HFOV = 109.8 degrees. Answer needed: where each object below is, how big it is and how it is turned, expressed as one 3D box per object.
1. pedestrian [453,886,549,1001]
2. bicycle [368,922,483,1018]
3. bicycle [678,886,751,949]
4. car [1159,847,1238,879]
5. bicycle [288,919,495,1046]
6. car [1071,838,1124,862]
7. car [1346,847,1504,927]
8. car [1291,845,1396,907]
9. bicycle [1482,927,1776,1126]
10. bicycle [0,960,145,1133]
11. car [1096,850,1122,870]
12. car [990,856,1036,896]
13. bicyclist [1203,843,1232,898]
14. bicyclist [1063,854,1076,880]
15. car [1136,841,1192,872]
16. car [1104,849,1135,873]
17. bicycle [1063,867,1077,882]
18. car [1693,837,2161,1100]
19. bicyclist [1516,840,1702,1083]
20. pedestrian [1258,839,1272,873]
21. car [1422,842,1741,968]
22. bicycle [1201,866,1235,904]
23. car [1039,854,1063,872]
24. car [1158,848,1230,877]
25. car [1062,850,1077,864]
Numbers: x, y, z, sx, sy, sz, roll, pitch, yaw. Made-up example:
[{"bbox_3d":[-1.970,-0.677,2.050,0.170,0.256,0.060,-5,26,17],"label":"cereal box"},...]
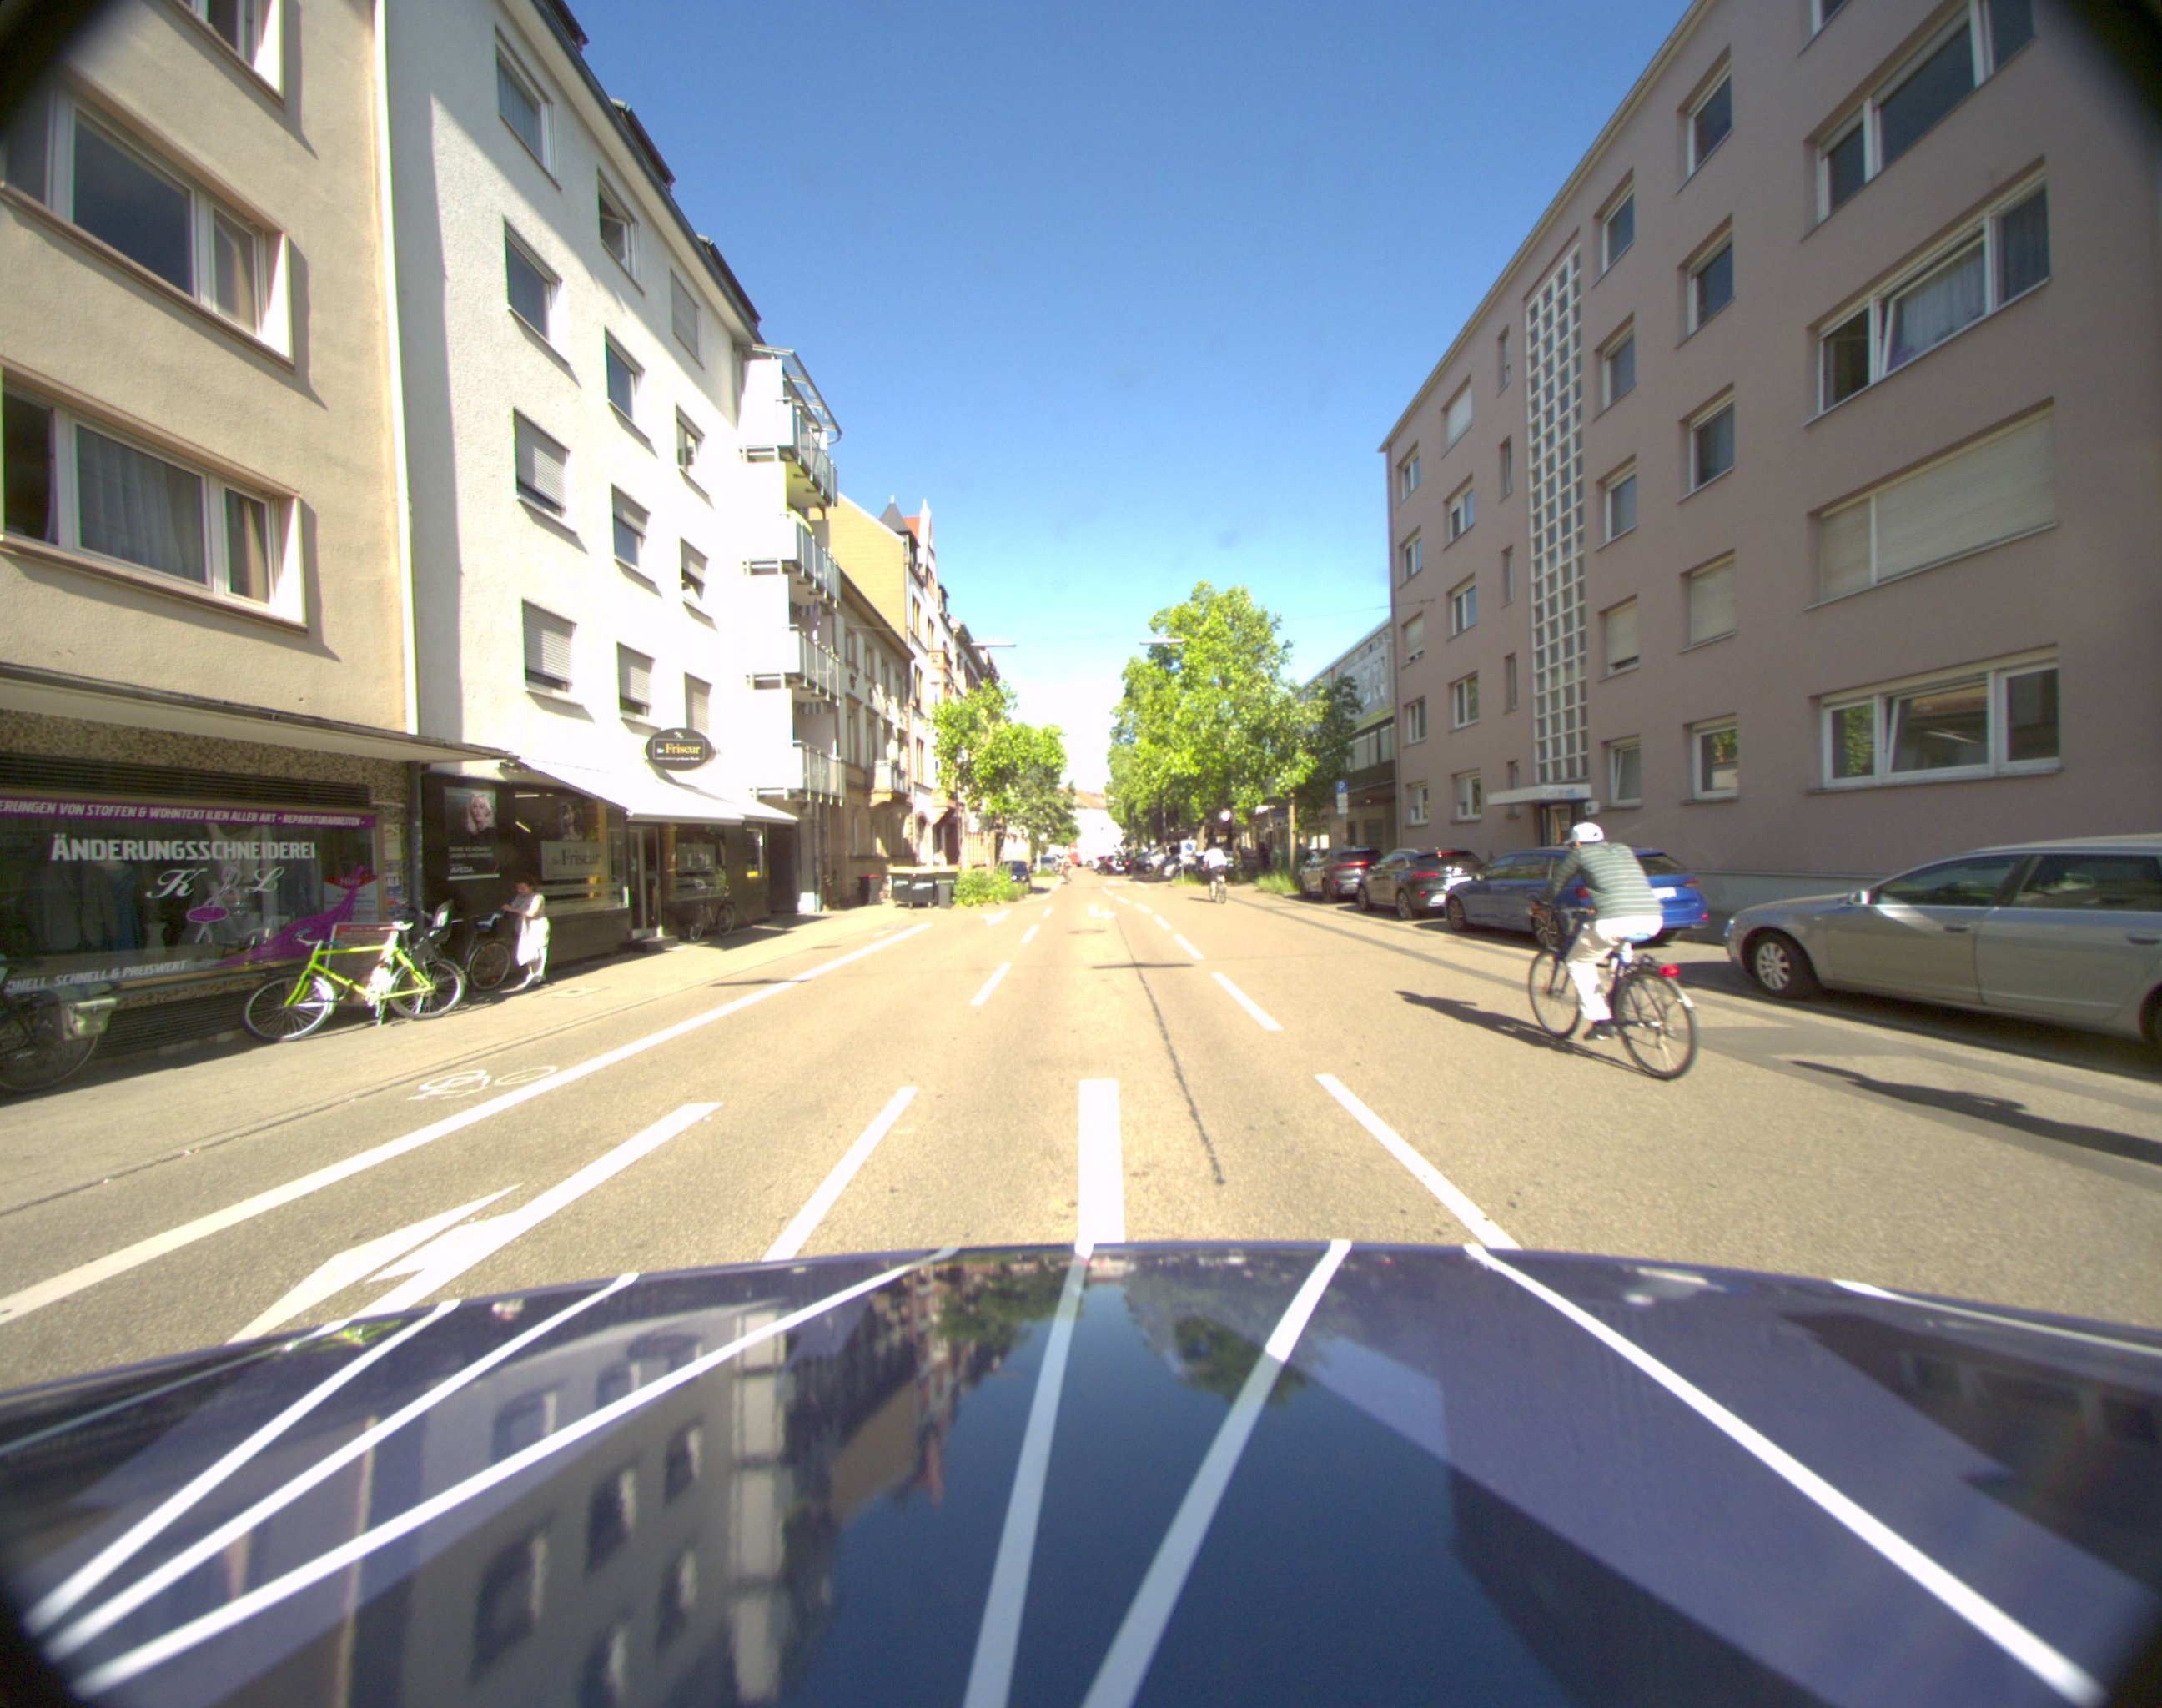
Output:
[{"bbox_3d":[-7.572,1.146,9.952,0.776,1.434,0.625,0,1,-4],"label":"pedestrian"},{"bbox_3d":[-8.004,1.389,9.328,0.376,0.977,1.175,-2,0,-2],"label":"bicycle"},{"bbox_3d":[-7.513,1.273,15.653,0.598,1.137,1.774,1,1,1],"label":"bicycle"},{"bbox_3d":[6.270,0.484,40.942,3.996,1.543,1.913,-2,1,3],"label":"car"},{"bbox_3d":[-7.301,1.322,8.154,1.497,1.100,0.722,-2,1,-31],"label":"bicycle"},{"bbox_3d":[1.783,-0.413,80.971,5.571,2.379,1.973,-2,1,-36],"label":"car"},{"bbox_3d":[7.552,0.641,17.147,1.727,1.459,4.158,-4,0,2],"label":"car"},{"bbox_3d":[7.633,0.578,22.543,1.727,1.567,4.158,-4,0,2],"label":"car"},{"bbox_3d":[3.653,1.086,5.324,0.681,0.946,1.933,0,0,1],"label":"bicycle"},{"bbox_3d":[-7.682,1.384,5.118,0.407,1.078,1.801,1,1,6],"label":"bicycle"},{"bbox_3d":[2.289,0.458,63.002,1.911,1.543,4.000,-2,0,0],"label":"car"},{"bbox_3d":[-2.938,0.913,33.436,1.627,1.587,3.546,-2,0,1],"label":"car"},{"bbox_3d":[4.160,0.491,23.195,0.718,1.611,0.946,-1,1,1],"label":"bicyclist"},{"bbox_3d":[-0.632,0.720,42.228,0.582,1.369,0.665,-2,1,5],"label":"bicyclist"},{"bbox_3d":[5.958,0.179,55.070,3.875,2.031,1.913,-2,1,3],"label":"car"},{"bbox_3d":[2.637,0.479,53.147,1.911,1.543,4.000,-2,0,0],"label":"car"},{"bbox_3d":[-0.616,1.137,42.310,0.582,0.801,1.710,-2,0,6],"label":"bicycle"},{"bbox_3d":[7.399,0.679,5.588,1.828,1.494,4.801,-4,0,0],"label":"car"},{"bbox_3d":[3.648,0.693,5.333,0.681,1.567,0.899,0,1,1],"label":"bicyclist"},{"bbox_3d":[9.911,0.100,40.899,0.623,1.796,0.502,-2,1,2],"label":"pedestrian"},{"bbox_3d":[7.512,0.649,12.152,1.828,1.494,4.801,-4,0,0],"label":"car"},{"bbox_3d":[4.161,0.923,23.222,0.718,1.058,1.872,-1,1,1],"label":"bicycle"},{"bbox_3d":[-2.585,0.739,66.188,1.914,1.444,3.547,-2,0,1],"label":"car"},{"bbox_3d":[6.560,0.463,44.442,3.996,1.543,1.913,-2,1,3],"label":"car"},{"bbox_3d":[-1.306,0.352,87.872,1.627,1.587,3.546,-2,0,1],"label":"car"}]
